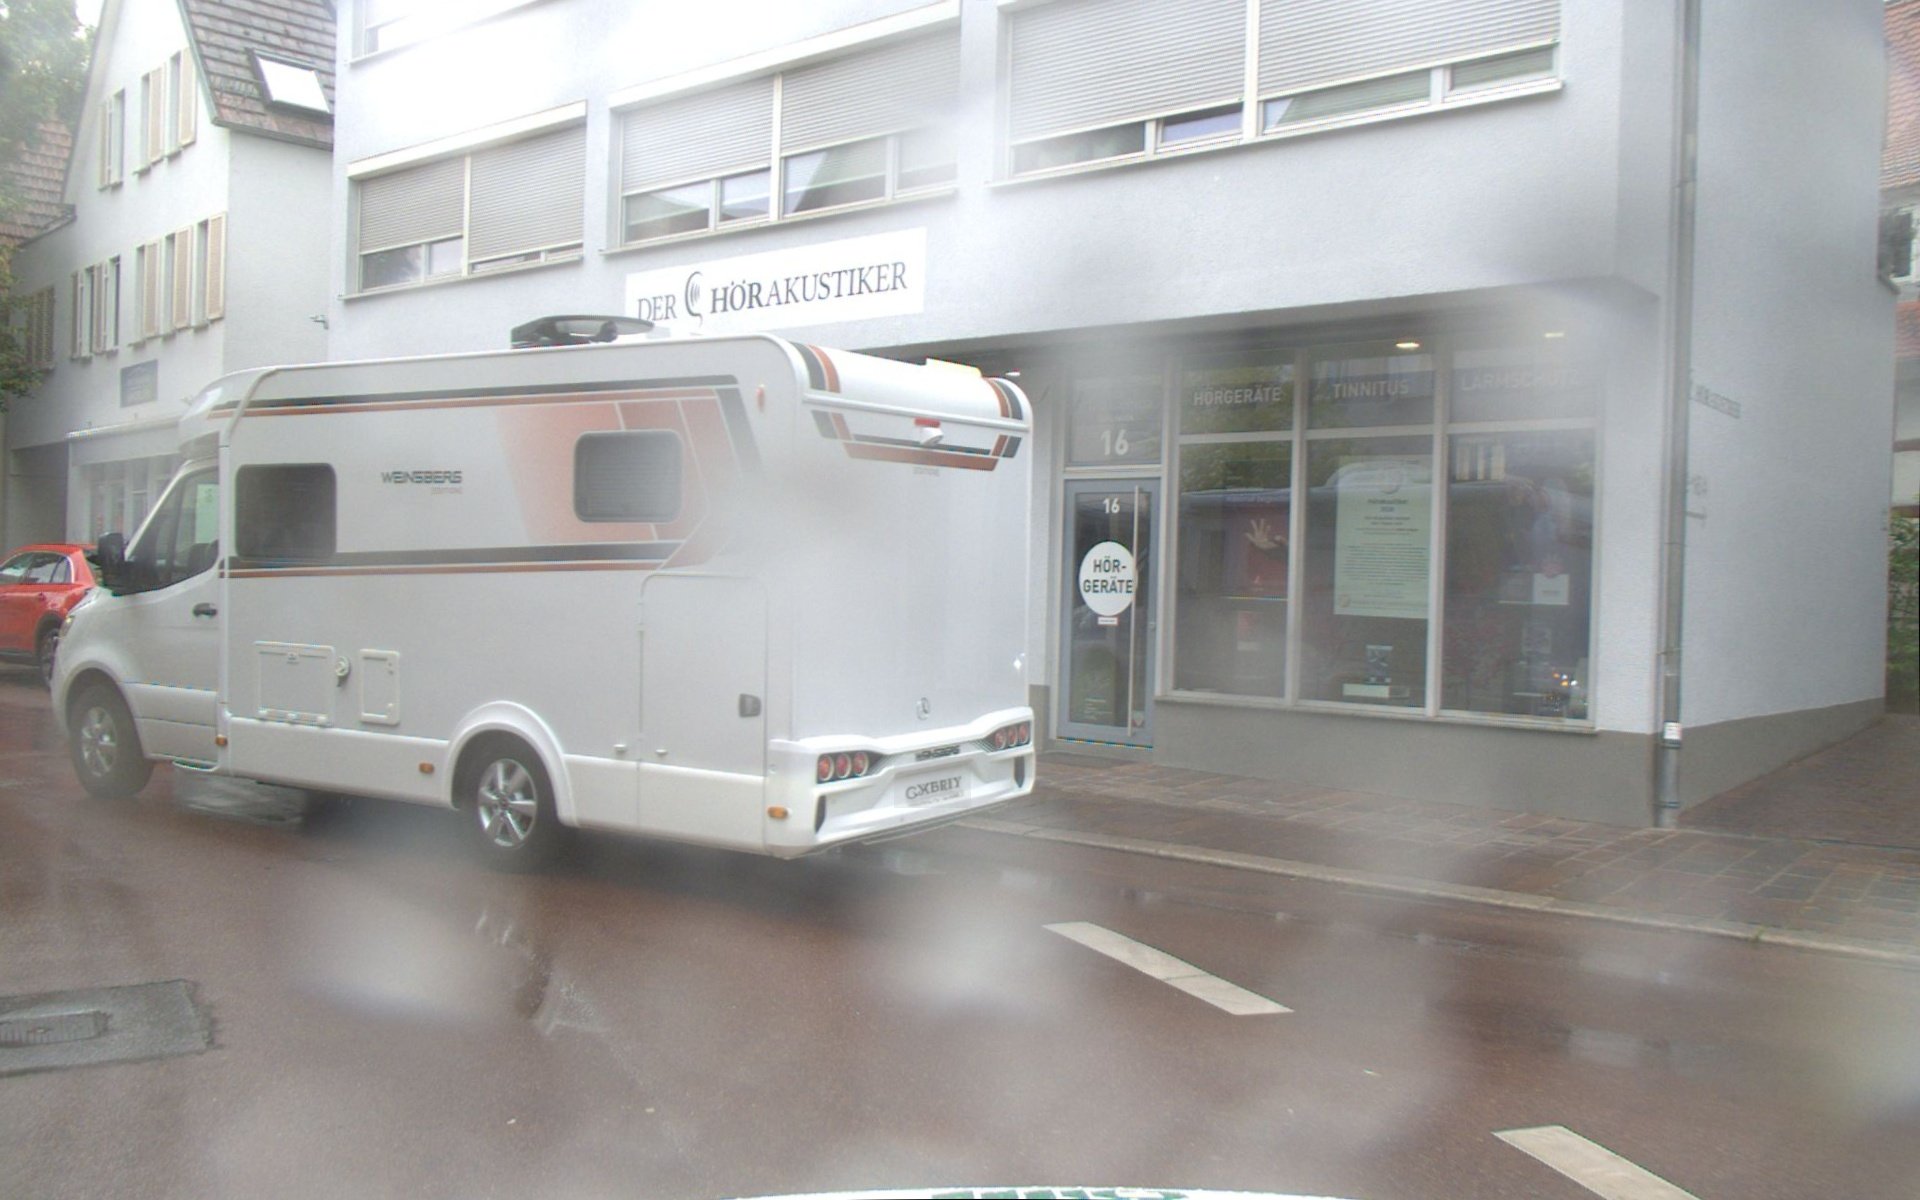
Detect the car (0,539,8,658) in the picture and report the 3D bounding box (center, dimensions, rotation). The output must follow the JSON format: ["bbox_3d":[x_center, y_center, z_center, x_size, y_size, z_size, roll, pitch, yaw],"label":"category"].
[{"bbox_3d":[-14.378,-0.084,22.062,3.727,1.555,1.675,3,2,39],"label":"car"}]

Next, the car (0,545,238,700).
[{"bbox_3d":[-9.937,0.177,18.679,3.725,1.555,1.675,2,2,37],"label":"car"}]

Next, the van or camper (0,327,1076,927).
[{"bbox_3d":[-2.810,0.025,10.042,6.607,2.630,2.440,2,1,32],"label":"van or camper"}]
